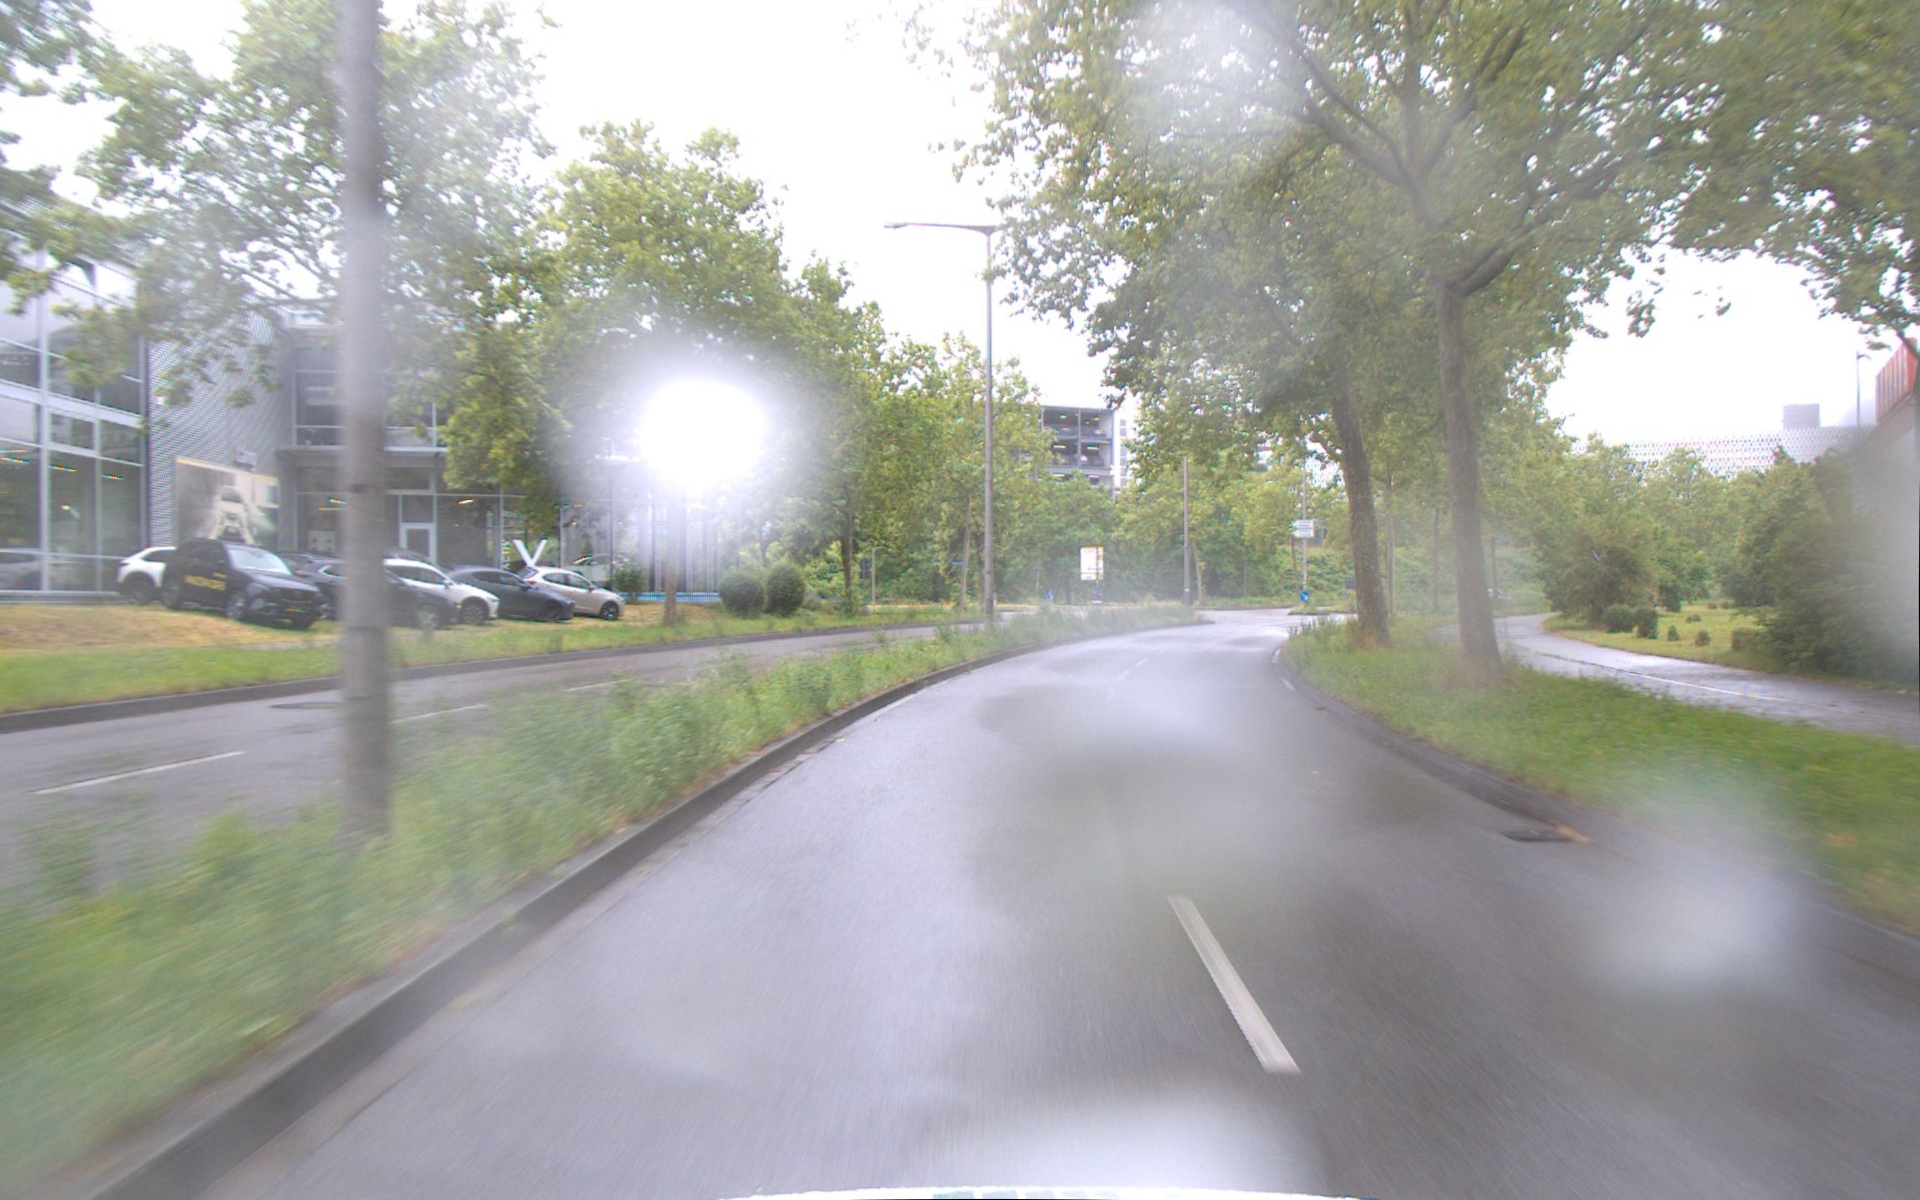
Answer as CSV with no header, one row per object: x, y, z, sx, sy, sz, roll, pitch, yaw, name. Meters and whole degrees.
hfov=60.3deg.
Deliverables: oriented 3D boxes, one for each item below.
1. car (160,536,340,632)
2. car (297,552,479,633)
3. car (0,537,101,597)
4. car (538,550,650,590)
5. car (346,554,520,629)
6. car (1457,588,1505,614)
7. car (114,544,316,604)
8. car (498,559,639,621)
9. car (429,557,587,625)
-16.507,-0.385,38.385,4.354,1.582,1.839,9,2,37,car
-14.647,-0.186,42.347,4.071,1.503,1.832,7,2,-29,car
-24.689,-0.855,42.381,4.336,1.499,1.918,1,0,-6,car
-14.253,-1.151,64.562,1.751,1.502,4.091,1,0,40,car
-14.408,-0.210,45.290,4.084,1.503,1.826,6,2,-36,car
34.536,0.070,109.588,1.750,1.582,3.984,2,2,37,car
-19.259,-0.668,42.886,4.330,1.499,1.920,1,0,1,car
-12.614,-0.310,53.421,3.965,1.500,1.760,6,2,-41,car
-13.439,-0.261,49.189,4.078,1.446,1.828,7,2,-33,car
